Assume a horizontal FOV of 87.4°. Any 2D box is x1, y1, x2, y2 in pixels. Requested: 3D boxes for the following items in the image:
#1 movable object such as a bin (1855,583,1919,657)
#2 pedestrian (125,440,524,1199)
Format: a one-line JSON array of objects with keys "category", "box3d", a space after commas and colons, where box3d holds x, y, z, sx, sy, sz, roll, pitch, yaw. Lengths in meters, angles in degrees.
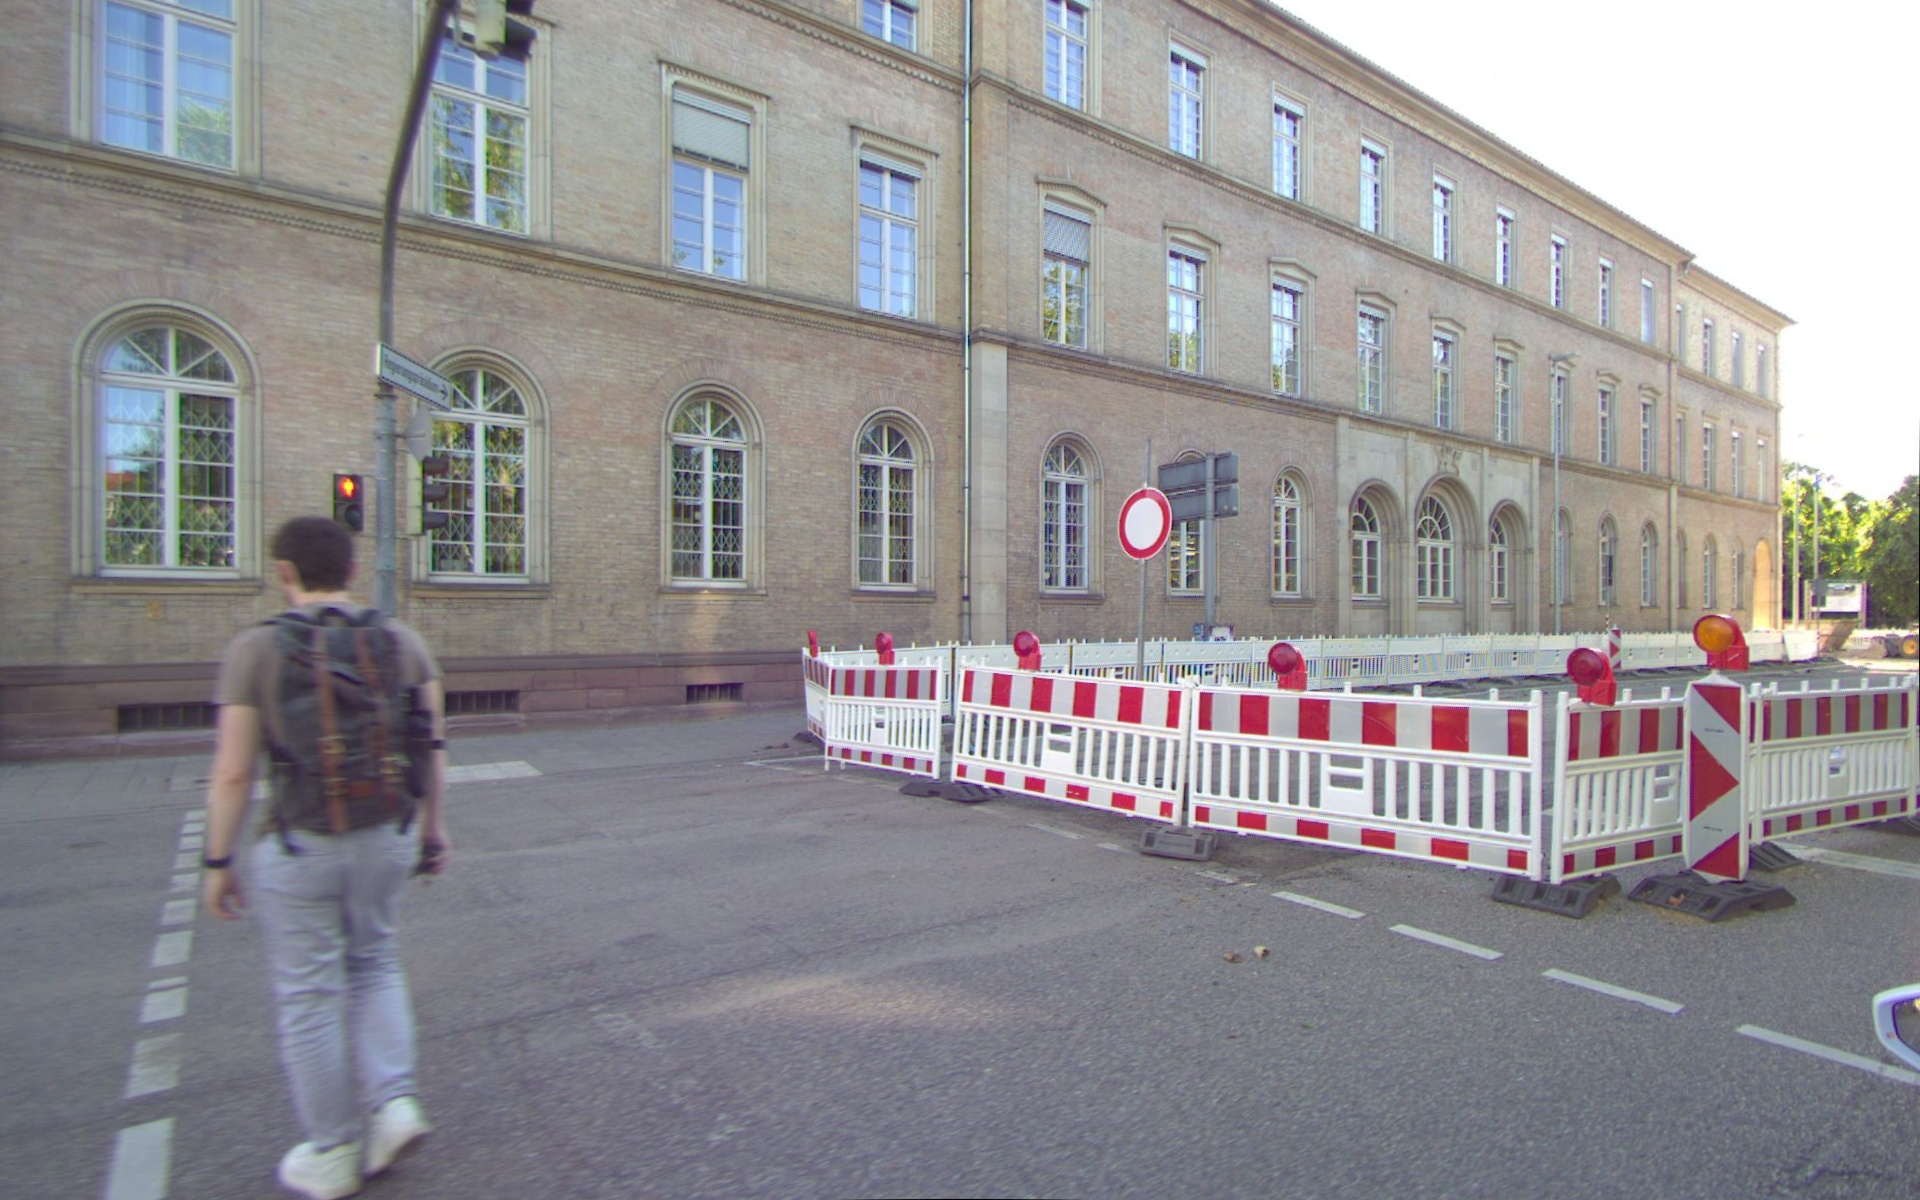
[{"category": "movable object such as a bin", "box3d": [41.387, 0.835, 42.357, 2.515, 3.071, 5.936, -1, -2, 8]}, {"category": "pedestrian", "box3d": [-1.539, 0.581, 2.588, 0.738, 1.795, 0.879, 0, -1, -25]}]
